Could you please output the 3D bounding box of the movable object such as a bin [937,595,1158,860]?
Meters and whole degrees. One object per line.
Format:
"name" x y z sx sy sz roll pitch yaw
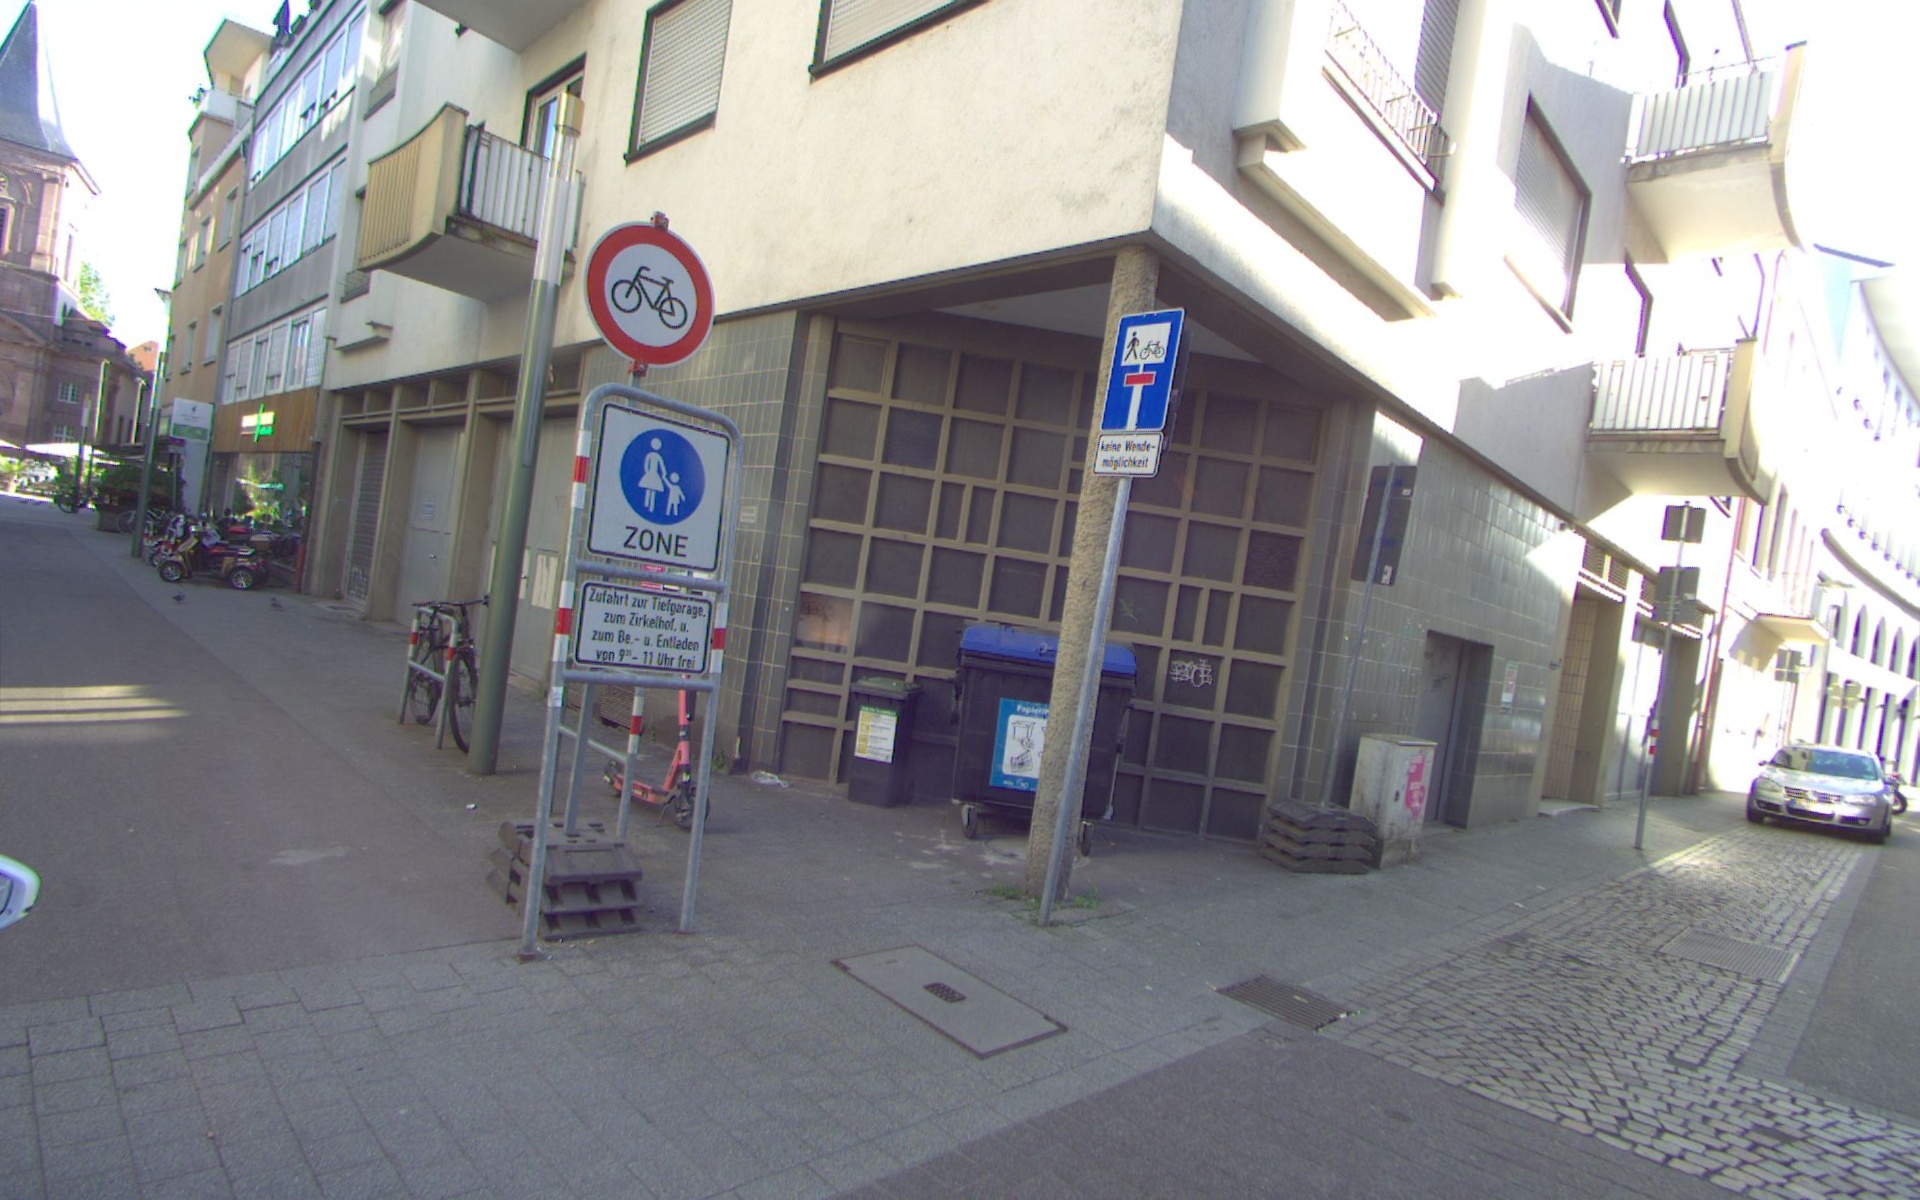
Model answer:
"movable object such as a bin" 0.585 0.857 7.327 1.268 1.609 1.154 8 2 0

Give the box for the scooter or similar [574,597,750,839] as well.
"scooter or similar" -1.874 0.686 6.236 1.221 1.268 0.306 8 0 42

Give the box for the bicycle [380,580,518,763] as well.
"bicycle" -3.894 0.495 7.595 0.445 1.153 1.691 8 -1 -40

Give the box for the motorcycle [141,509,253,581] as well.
"motorcycle" -15.131 -1.081 19.999 1.611 1.189 0.477 8 1 -27

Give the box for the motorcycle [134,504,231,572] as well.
"motorcycle" -16.315 -1.287 21.153 1.473 1.196 0.409 8 1 -30

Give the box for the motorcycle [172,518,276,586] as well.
"motorcycle" -14.125 -0.912 19.332 1.471 1.089 0.409 8 1 -27

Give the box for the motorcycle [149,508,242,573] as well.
"motorcycle" -16.743 -1.289 22.058 1.473 1.196 0.409 8 1 -30

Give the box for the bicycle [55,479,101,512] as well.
"bicycle" -42.301 -5.009 48.277 0.359 1.324 1.592 8 0 16

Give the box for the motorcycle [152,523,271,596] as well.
"motorcycle" -13.191 -0.703 17.770 1.551 1.054 0.370 8 1 -27

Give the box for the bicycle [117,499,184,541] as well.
"bicycle" -24.026 -2.374 29.880 1.457 1.017 0.567 8 0 -38

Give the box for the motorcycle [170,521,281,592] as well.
"motorcycle" -13.488 -0.786 18.512 1.504 1.089 0.409 8 1 -27

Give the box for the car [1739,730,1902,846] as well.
"car" 14.799 3.139 17.235 1.749 1.487 3.792 6 -2 45

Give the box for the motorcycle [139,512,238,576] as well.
"motorcycle" -15.719 -1.138 20.533 1.471 1.089 0.409 8 1 -27

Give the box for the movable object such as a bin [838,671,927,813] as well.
"movable object such as a bin" -0.573 1.054 7.574 0.532 0.935 0.513 8 1 -2
